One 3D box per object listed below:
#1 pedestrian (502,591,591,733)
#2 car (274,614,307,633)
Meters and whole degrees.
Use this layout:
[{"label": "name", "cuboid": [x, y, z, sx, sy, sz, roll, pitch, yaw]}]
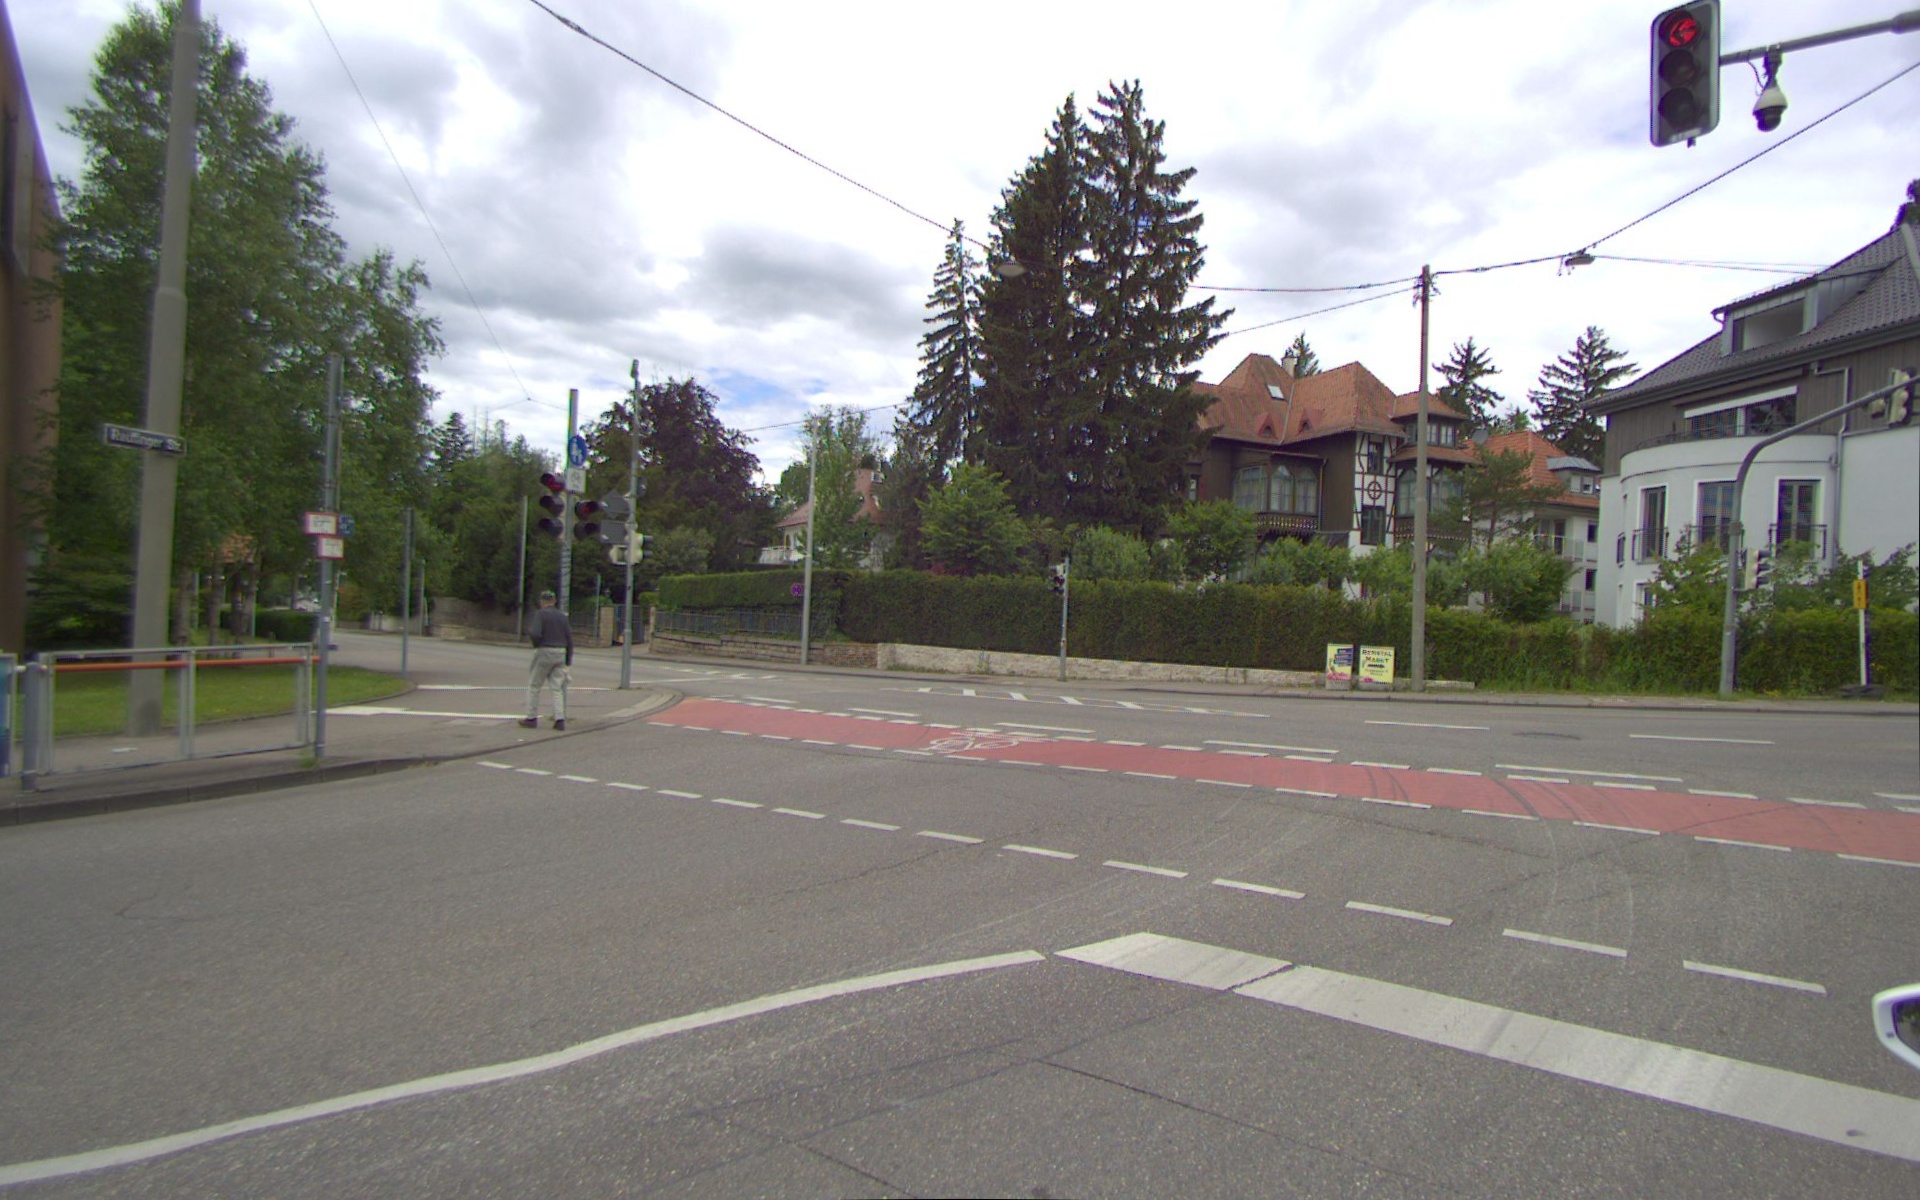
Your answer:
[{"label": "pedestrian", "cuboid": [-4.997, 0.733, 12.152, 0.726, 1.655, 0.683, -1, -1, 22]}, {"label": "car", "cuboid": [-55.372, 1.910, 83.062, 1.696, 1.432, 4.372, 1, 0, -41]}]
